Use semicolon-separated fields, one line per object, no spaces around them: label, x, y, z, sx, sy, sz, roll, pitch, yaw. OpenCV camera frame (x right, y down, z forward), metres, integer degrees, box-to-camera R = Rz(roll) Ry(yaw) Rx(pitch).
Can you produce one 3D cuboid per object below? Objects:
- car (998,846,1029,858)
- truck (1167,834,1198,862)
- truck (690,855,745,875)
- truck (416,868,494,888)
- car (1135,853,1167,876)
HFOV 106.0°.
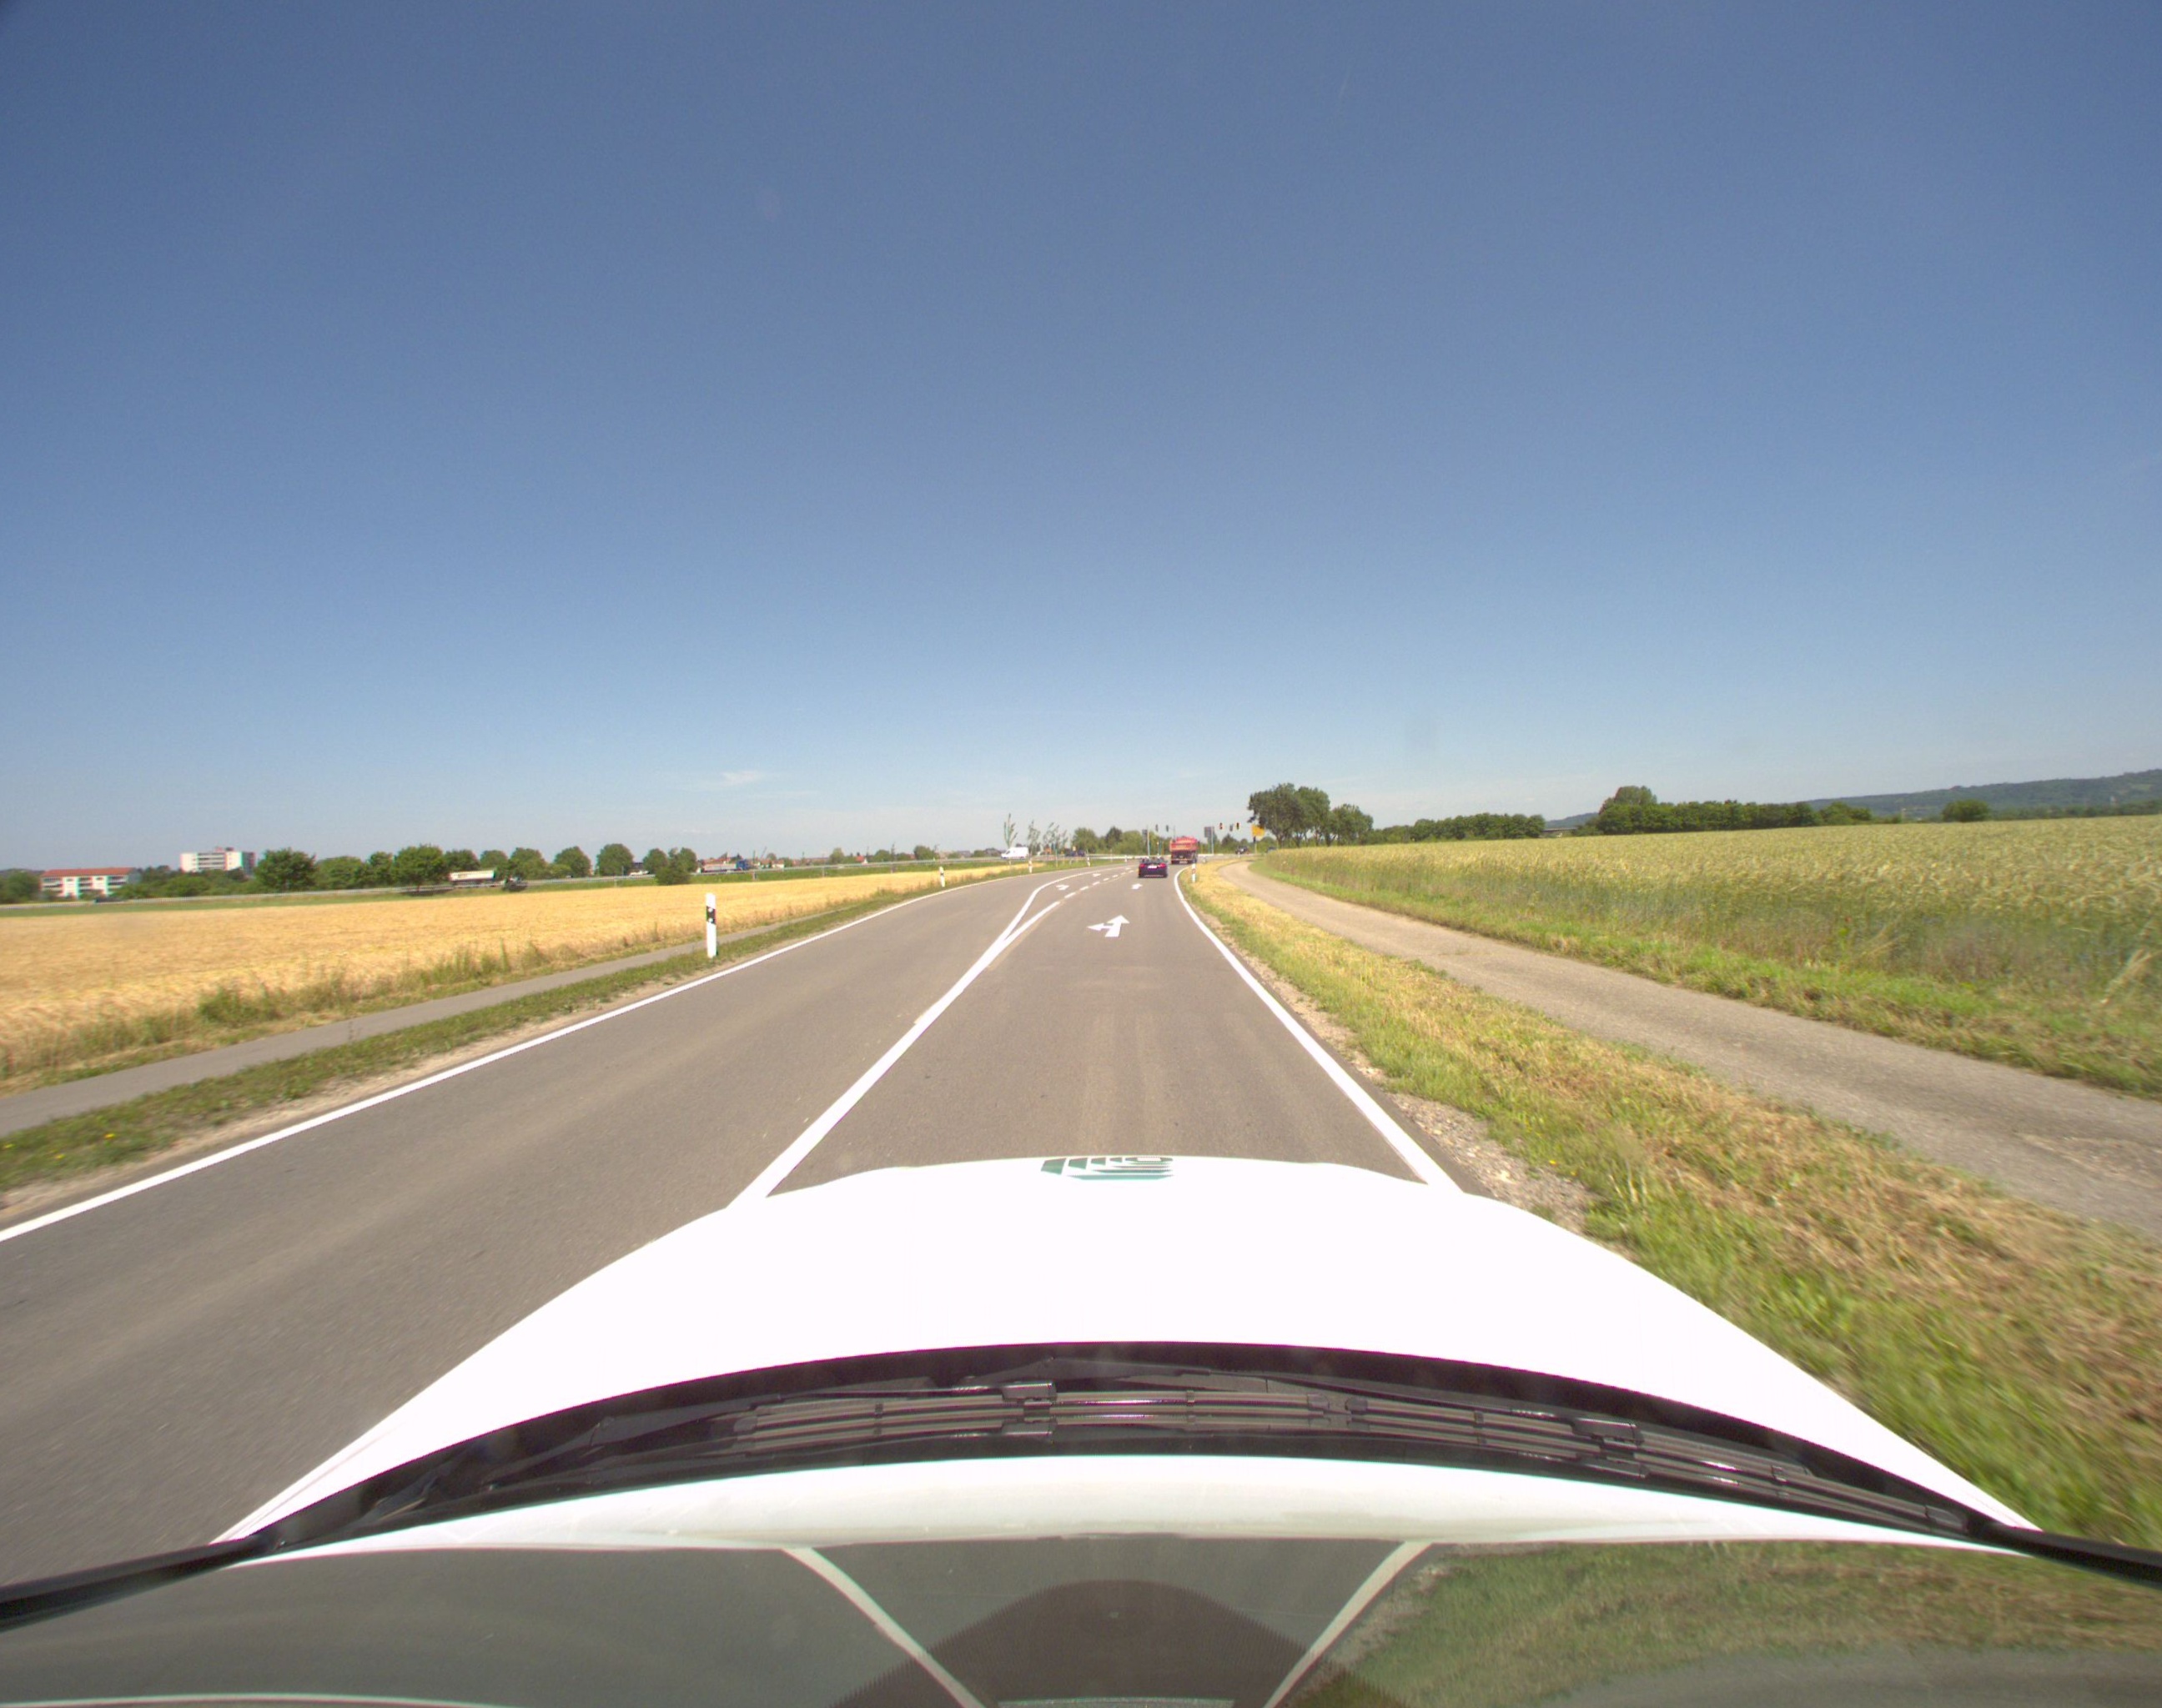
car;-14.217;-0.358;171.722;5.883;2.421;2.253;-1;0;8
truck;11.920;-0.593;94.835;2.695;3.053;8.192;-1;-1;13
truck;-75.846;2.235;170.250;10.062;3.793;2.622;-2;0;-5
truck;-124.619;4.749;162.348;12.020;3.614;2.965;-2;0;-18
car;4.368;0.669;50.656;1.737;1.376;3.687;0;-1;8
